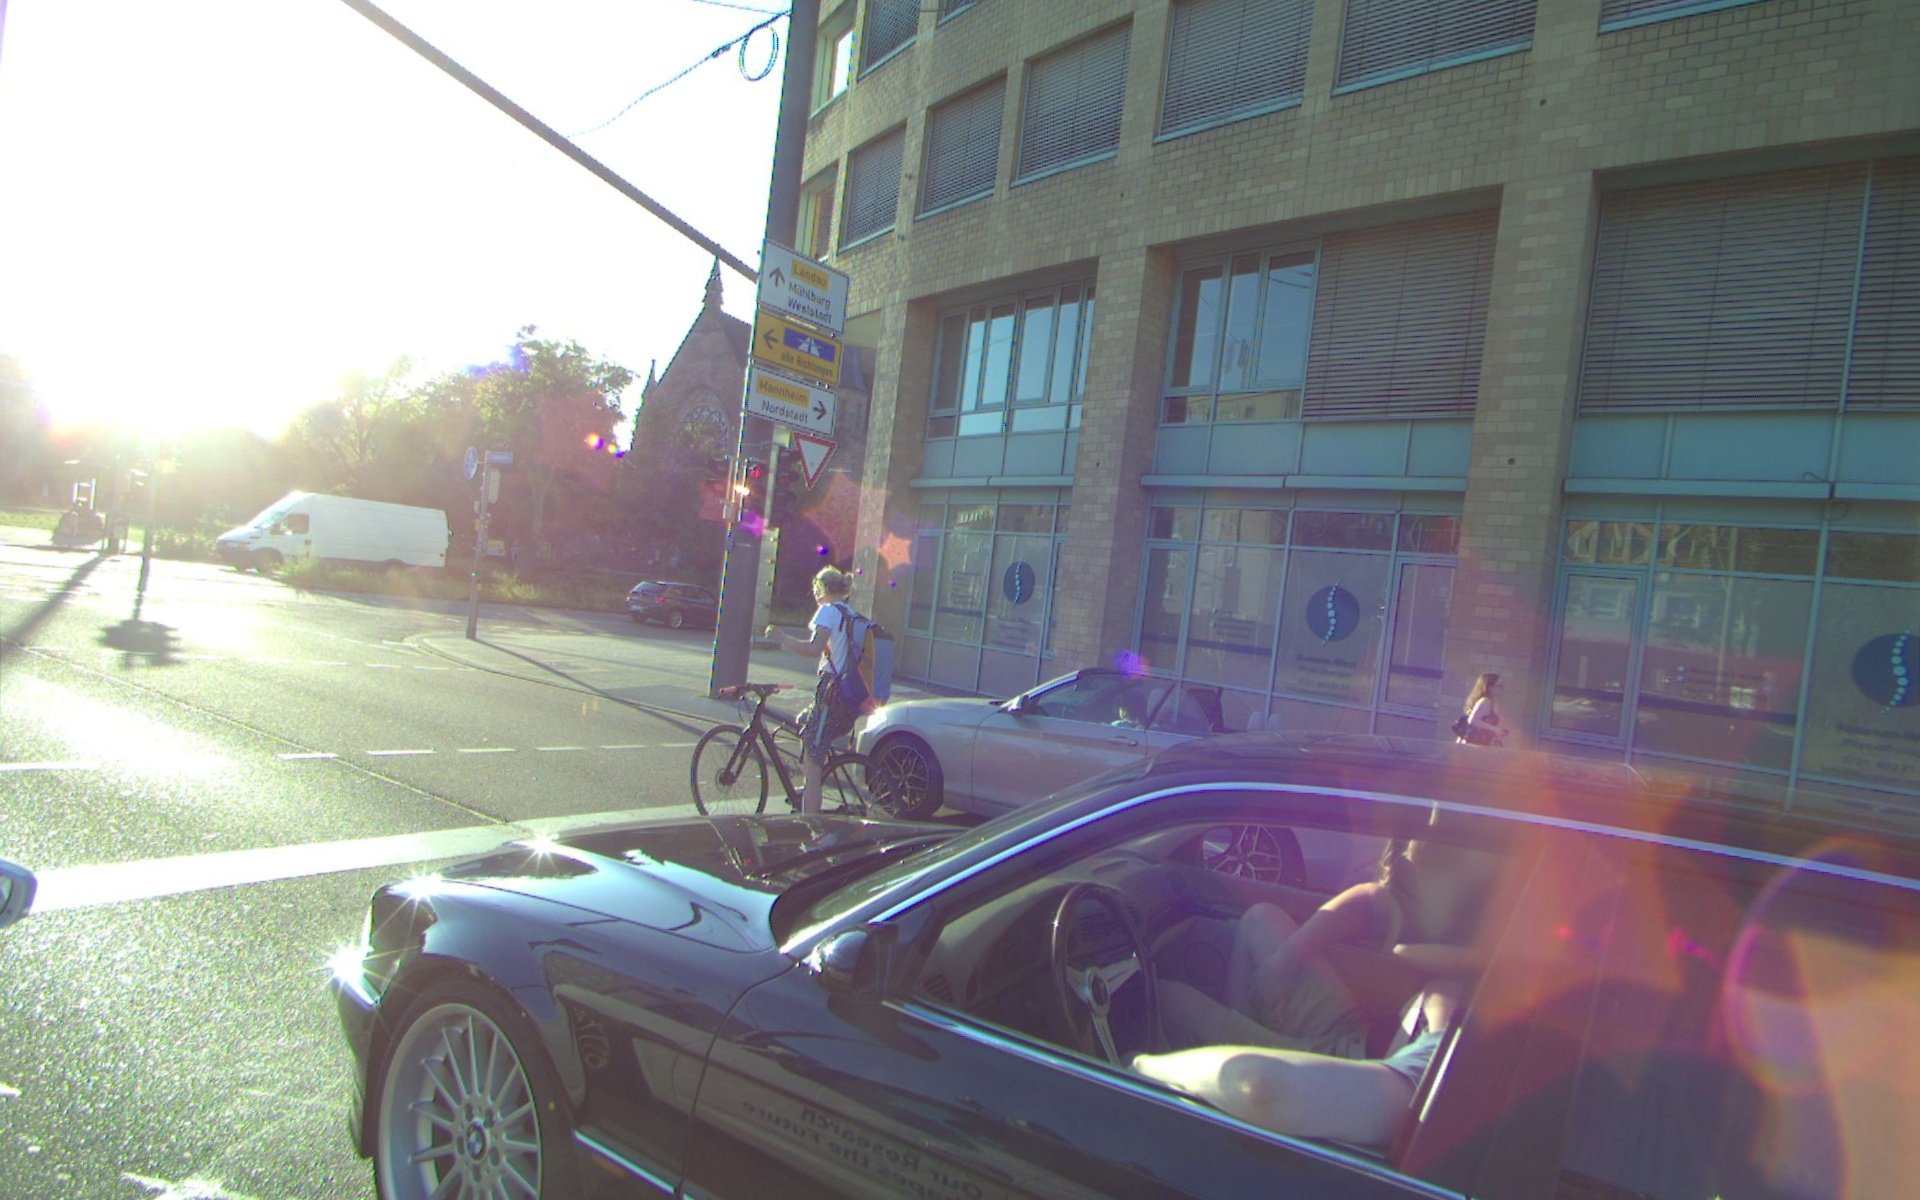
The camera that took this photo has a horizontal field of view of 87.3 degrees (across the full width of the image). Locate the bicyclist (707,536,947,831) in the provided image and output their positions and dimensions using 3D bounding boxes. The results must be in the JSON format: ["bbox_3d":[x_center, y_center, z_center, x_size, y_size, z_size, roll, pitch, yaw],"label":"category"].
[{"bbox_3d":[-0.767,0.456,5.851,1.020,1.501,0.657,7,-1,29],"label":"bicyclist"}]

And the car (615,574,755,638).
[{"bbox_3d":[-8.697,0.225,32.076,1.691,1.451,3.990,9,-1,36],"label":"car"}]

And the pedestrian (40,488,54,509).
[{"bbox_3d":[-81.313,-9.017,89.572,0.795,1.722,0.790,6,1,-44],"label":"pedestrian"}]

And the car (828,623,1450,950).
[{"bbox_3d":[1.266,1.184,7.679,4.195,1.370,1.786,8,0,31],"label":"car"}]

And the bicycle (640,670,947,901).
[{"bbox_3d":[-1.014,1.028,5.937,1.745,0.966,0.516,7,-1,30],"label":"bicycle"}]

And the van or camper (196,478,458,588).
[{"bbox_3d":[-21.467,-2.187,34.574,2.556,2.708,7.048,9,1,33],"label":"van or camper"}]

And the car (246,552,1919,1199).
[{"bbox_3d":[0.836,0.915,1.936,4.563,1.370,1.833,8,0,31],"label":"car"}]

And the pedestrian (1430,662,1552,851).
[{"bbox_3d":[4.995,1.437,9.487,0.786,1.589,0.678,9,2,29],"label":"pedestrian"}]
